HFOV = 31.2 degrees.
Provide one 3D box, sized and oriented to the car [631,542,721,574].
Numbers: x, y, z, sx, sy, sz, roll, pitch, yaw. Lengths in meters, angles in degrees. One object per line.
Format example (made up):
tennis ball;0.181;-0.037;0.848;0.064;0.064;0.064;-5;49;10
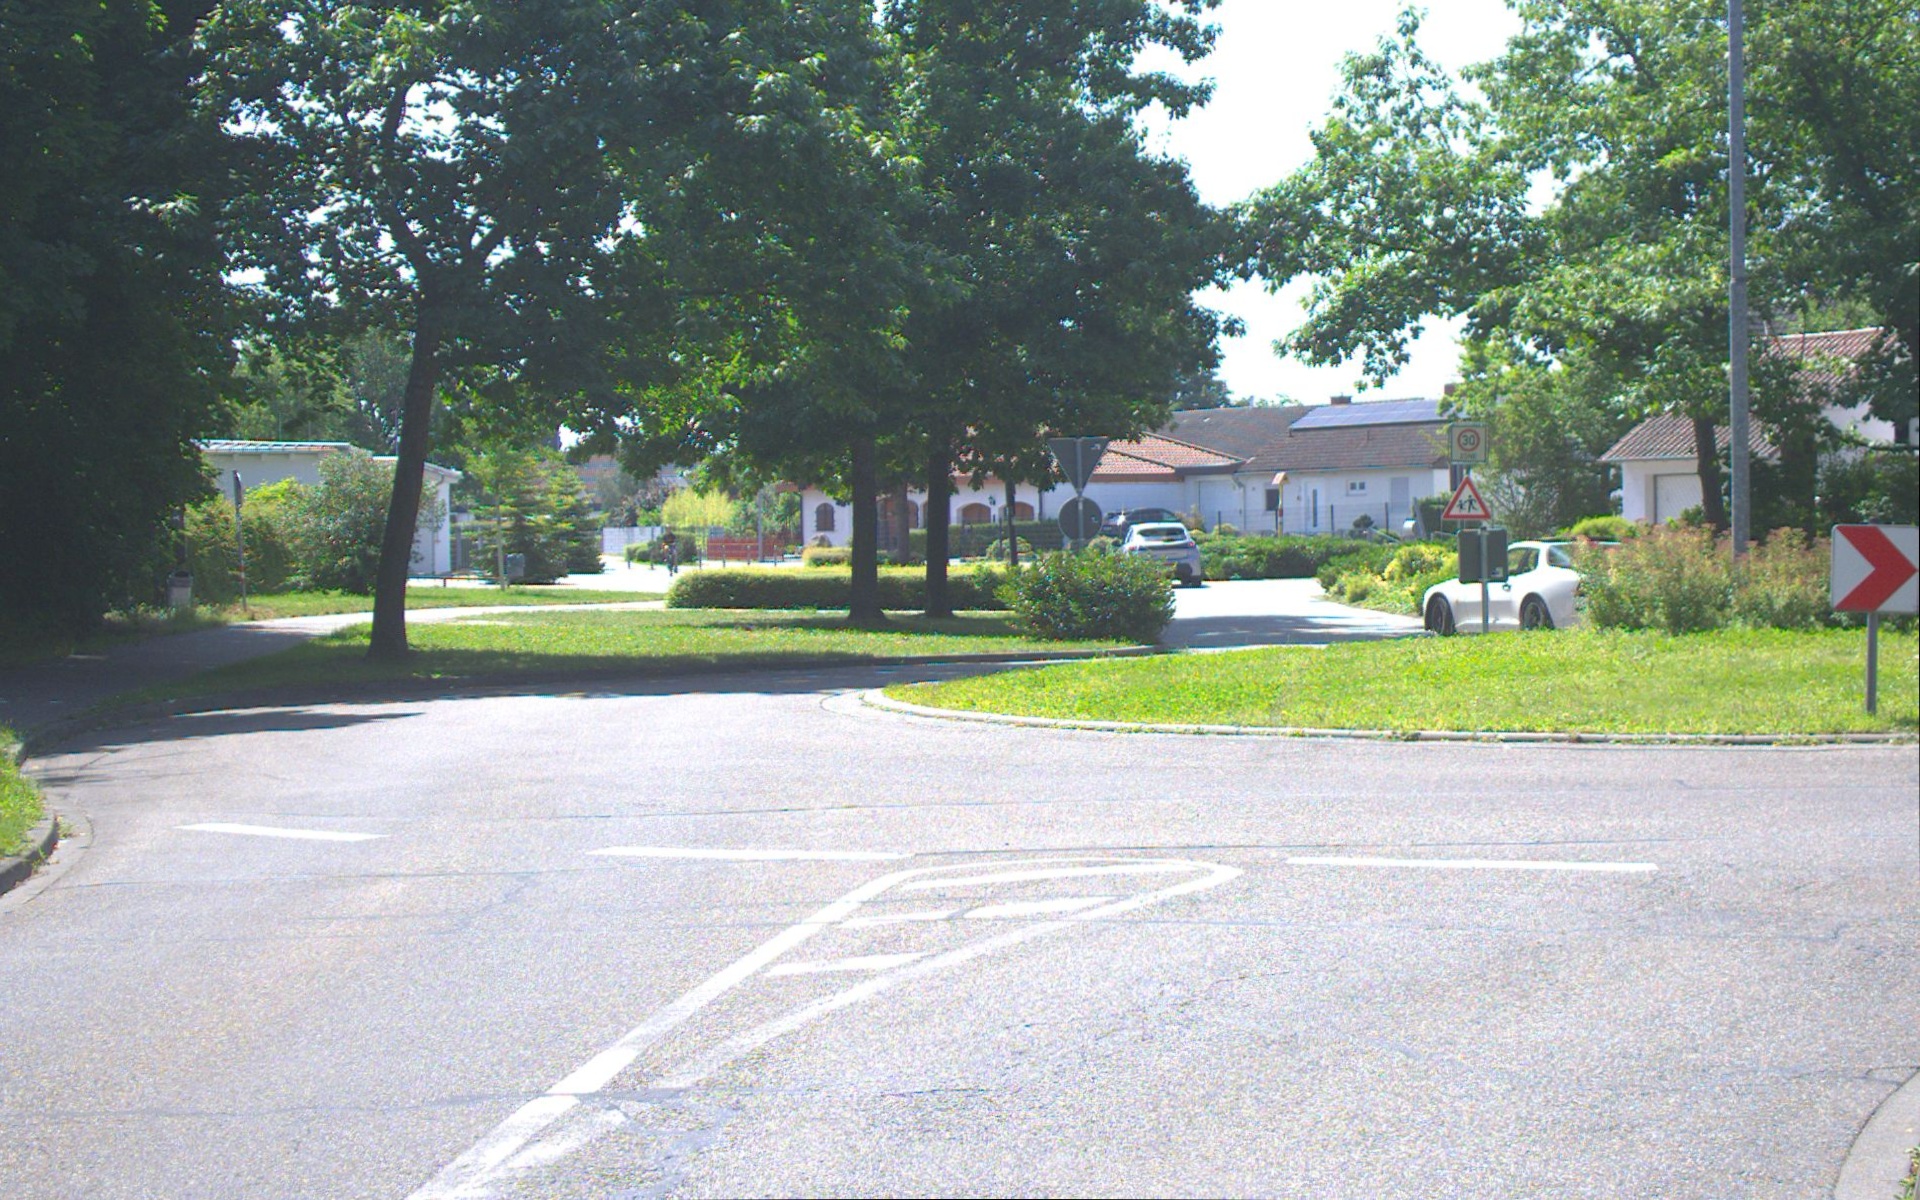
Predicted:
car;-11.722;-1.736;141.713;1.994;1.284;4.000;-1;1;-33

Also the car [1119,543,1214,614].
car;4.597;-0.496;77.023;1.628;1.481;4.001;-1;1;-3

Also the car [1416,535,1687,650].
car;6.992;-0.112;40.949;1.614;1.284;3.558;-1;1;-20

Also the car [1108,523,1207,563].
car;7.821;-2.240;135.799;1.853;1.537;3.827;0;1;43

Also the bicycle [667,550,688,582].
bicycle;-8.386;-1.016;102.000;0.597;0.926;1.620;-1;1;-4
